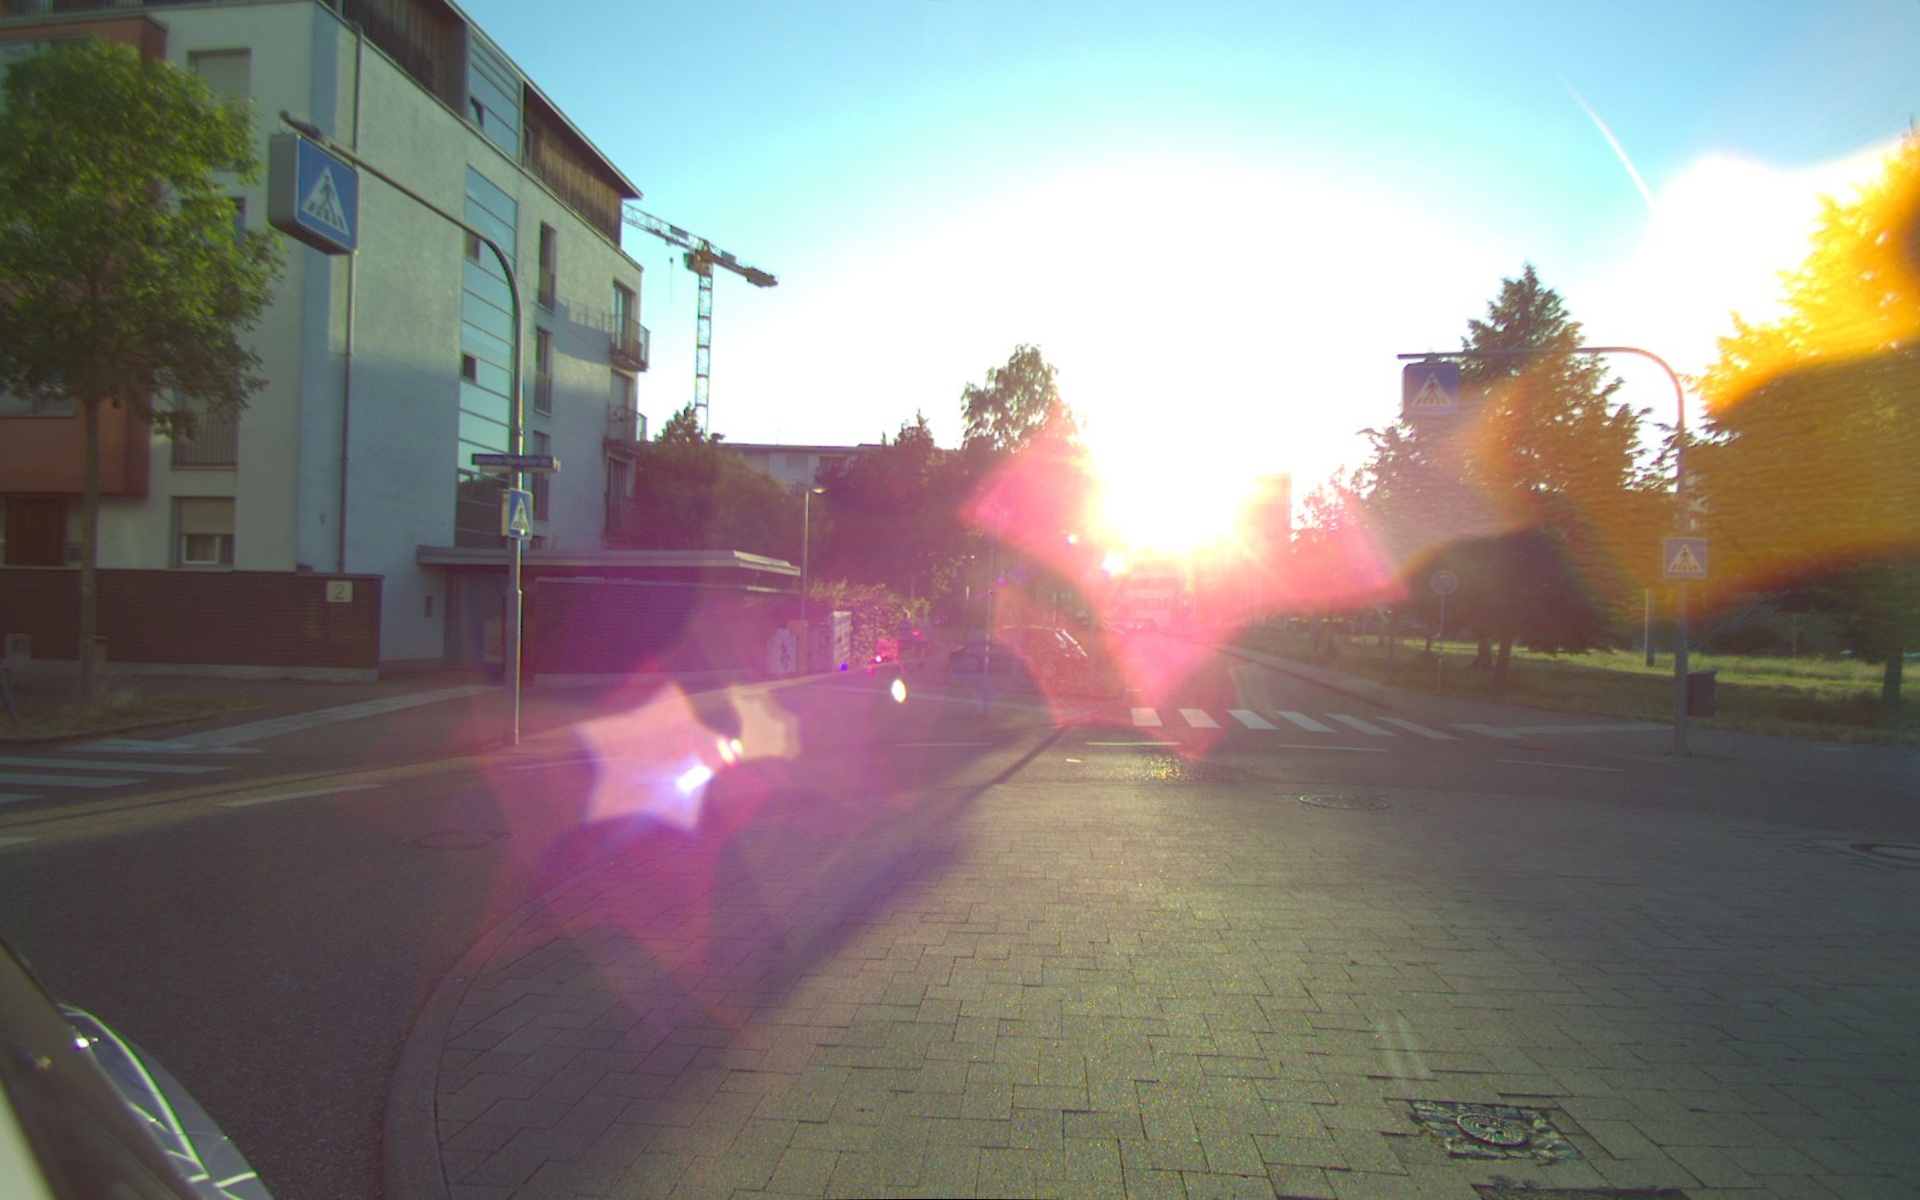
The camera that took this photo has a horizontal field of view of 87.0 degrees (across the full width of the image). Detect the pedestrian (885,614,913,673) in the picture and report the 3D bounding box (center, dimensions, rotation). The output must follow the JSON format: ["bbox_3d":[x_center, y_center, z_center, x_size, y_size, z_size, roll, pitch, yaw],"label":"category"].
[{"bbox_3d":[-1.720,1.218,28.603,0.646,1.612,0.715,2,0,-13],"label":"pedestrian"}]

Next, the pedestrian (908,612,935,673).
[{"bbox_3d":[-1.115,1.207,28.911,0.614,1.680,0.745,2,0,-11],"label":"pedestrian"}]

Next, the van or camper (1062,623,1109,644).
[{"bbox_3d":[10.774,2.875,87.199,3.828,1.707,1.833,1,-1,3],"label":"van or camper"}]

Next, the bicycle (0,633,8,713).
[{"bbox_3d":[-13.417,1.021,13.008,0.560,1.074,1.821,1,2,3],"label":"bicycle"}]

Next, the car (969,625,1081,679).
[{"bbox_3d":[2.087,1.605,31.777,3.371,1.511,1.590,2,-1,8],"label":"car"}]

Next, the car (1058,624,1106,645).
[{"bbox_3d":[10.182,2.862,84.429,3.828,1.707,1.701,1,-1,3],"label":"car"}]

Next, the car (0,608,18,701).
[{"bbox_3d":[-16.067,0.856,14.137,1.659,1.468,4.289,1,0,4],"label":"car"}]

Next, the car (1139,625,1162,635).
[{"bbox_3d":[32.501,5.170,172.775,3.832,1.625,1.699,0,-1,6],"label":"car"}]

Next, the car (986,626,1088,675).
[{"bbox_3d":[2.657,1.703,34.511,3.371,1.511,1.590,2,-1,8],"label":"car"}]

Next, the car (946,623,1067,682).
[{"bbox_3d":[1.401,1.514,29.782,3.371,1.533,1.686,2,-1,8],"label":"car"}]
